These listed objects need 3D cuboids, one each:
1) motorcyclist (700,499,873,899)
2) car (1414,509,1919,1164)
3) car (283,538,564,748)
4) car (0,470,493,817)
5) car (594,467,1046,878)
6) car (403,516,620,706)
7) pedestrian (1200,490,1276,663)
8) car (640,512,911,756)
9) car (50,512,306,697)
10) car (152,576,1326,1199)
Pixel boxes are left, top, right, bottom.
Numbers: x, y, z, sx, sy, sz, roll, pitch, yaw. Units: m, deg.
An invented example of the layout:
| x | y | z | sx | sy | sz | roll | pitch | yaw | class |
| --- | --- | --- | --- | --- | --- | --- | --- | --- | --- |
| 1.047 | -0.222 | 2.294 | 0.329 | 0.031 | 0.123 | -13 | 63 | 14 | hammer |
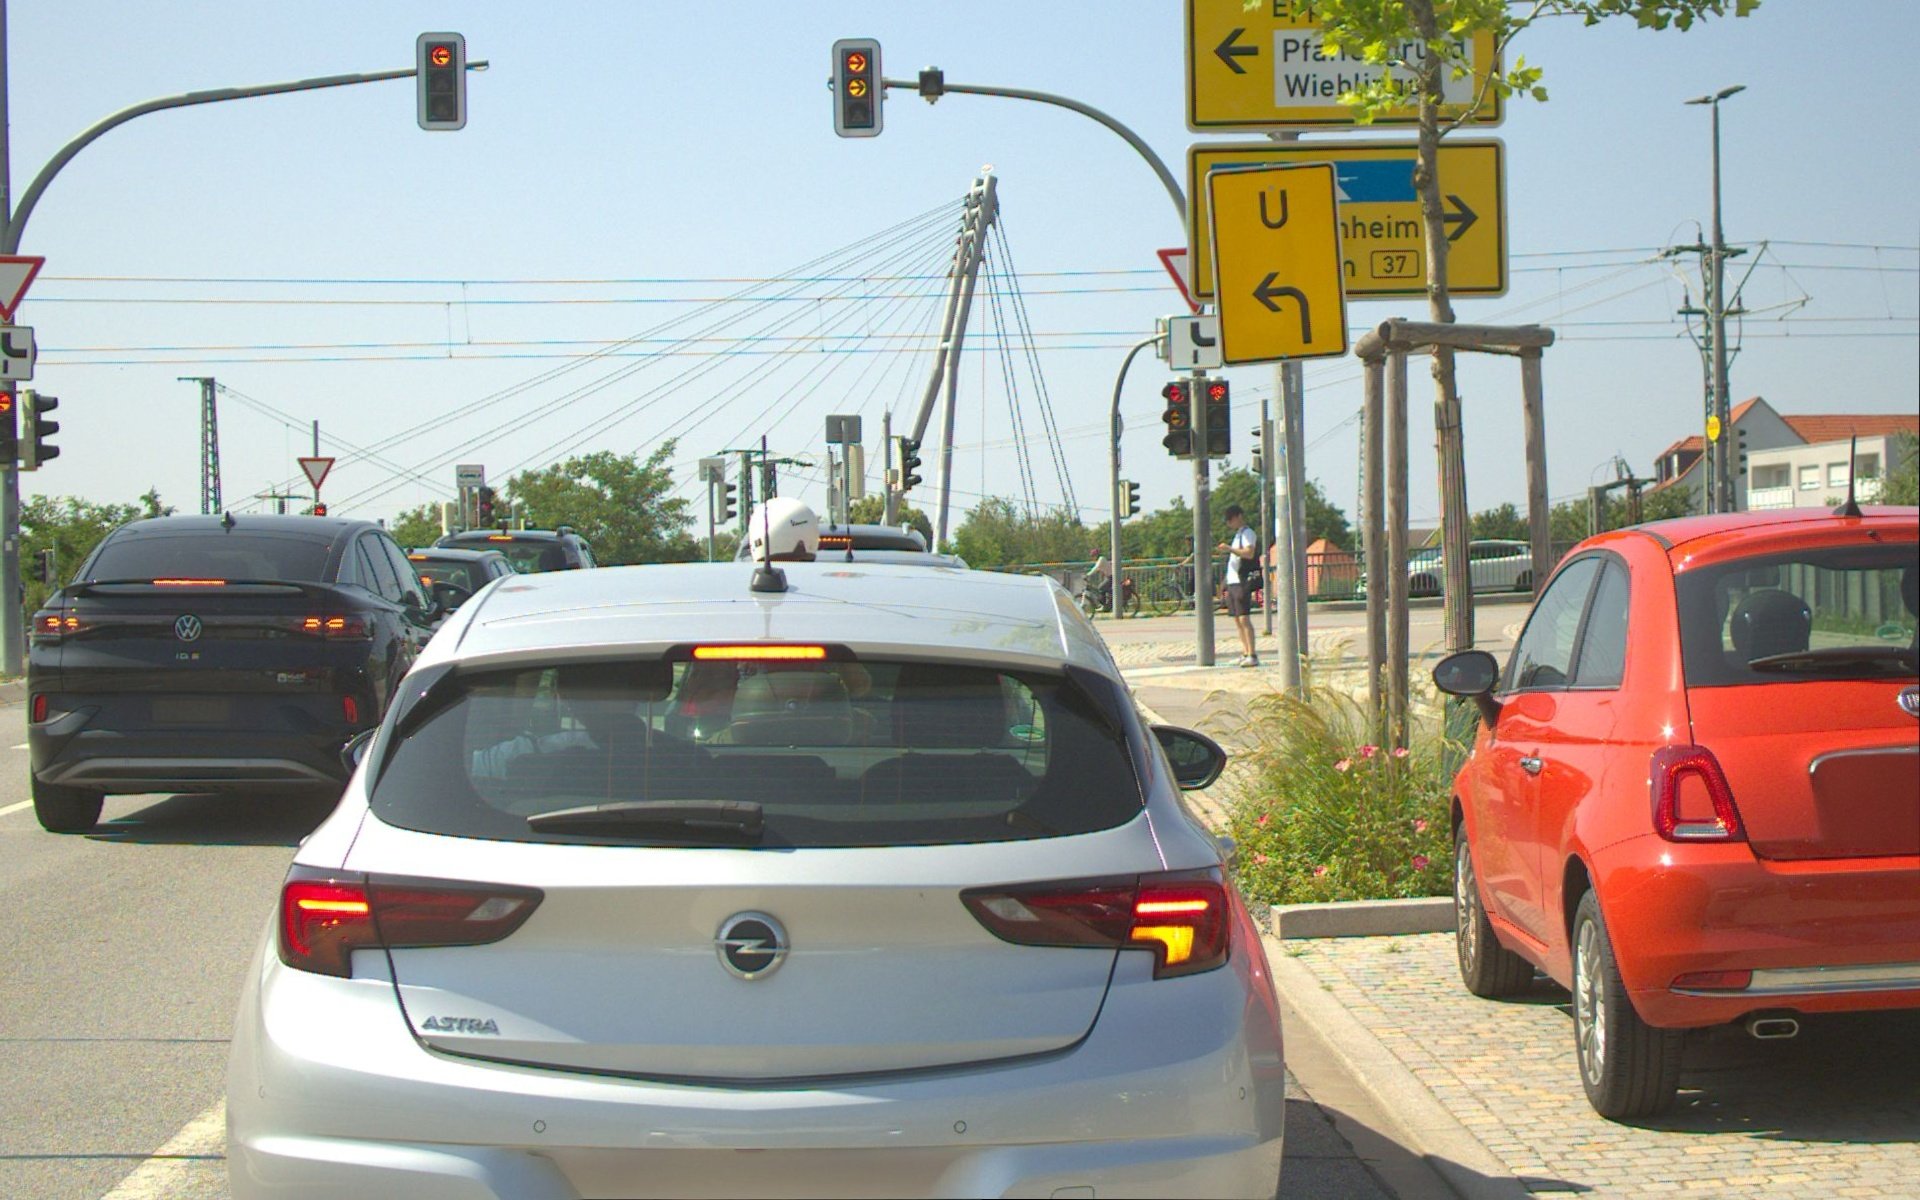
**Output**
| x | y | z | sx | sy | sz | roll | pitch | yaw | class |
| --- | --- | --- | --- | --- | --- | --- | --- | --- | --- |
| -0.612 | 0.340 | 12.289 | 0.581 | 1.384 | 0.707 | 1 | 0 | -1 | motorcyclist |
| 2.326 | 0.515 | 9.752 | 1.610 | 1.491 | 3.352 | -2 | 1 | 1 | car |
| -3.925 | 0.276 | 25.640 | 1.575 | 1.429 | 3.786 | 1 | 1 | -1 | car |
| -3.709 | 0.188 | 18.632 | 1.801 | 1.636 | 4.366 | 1 | 1 | -1 | car |
| -0.651 | 0.266 | 17.566 | 1.993 | 1.814 | 4.402 | 1 | 2 | -1 | car |
| -4.056 | 0.075 | 31.563 | 1.649 | 1.610 | 3.821 | 1 | 1 | -3 | car |
| 3.015 | -0.260 | 37.380 | 0.647 | 1.830 | 0.798 | -3 | 0 | -2 | pedestrian |
| -1.233 | 0.172 | 24.432 | 1.724 | 1.558 | 4.000 | 1 | 2 | 0 | car |
| -6.975 | 0.020 | 30.975 | 1.597 | 1.542 | 3.763 | 1 | 1 | -3 | car |
| -0.435 | 0.707 | 7.144 | 1.742 | 1.473 | 4.001 | 1 | 1 | -3 | car |
